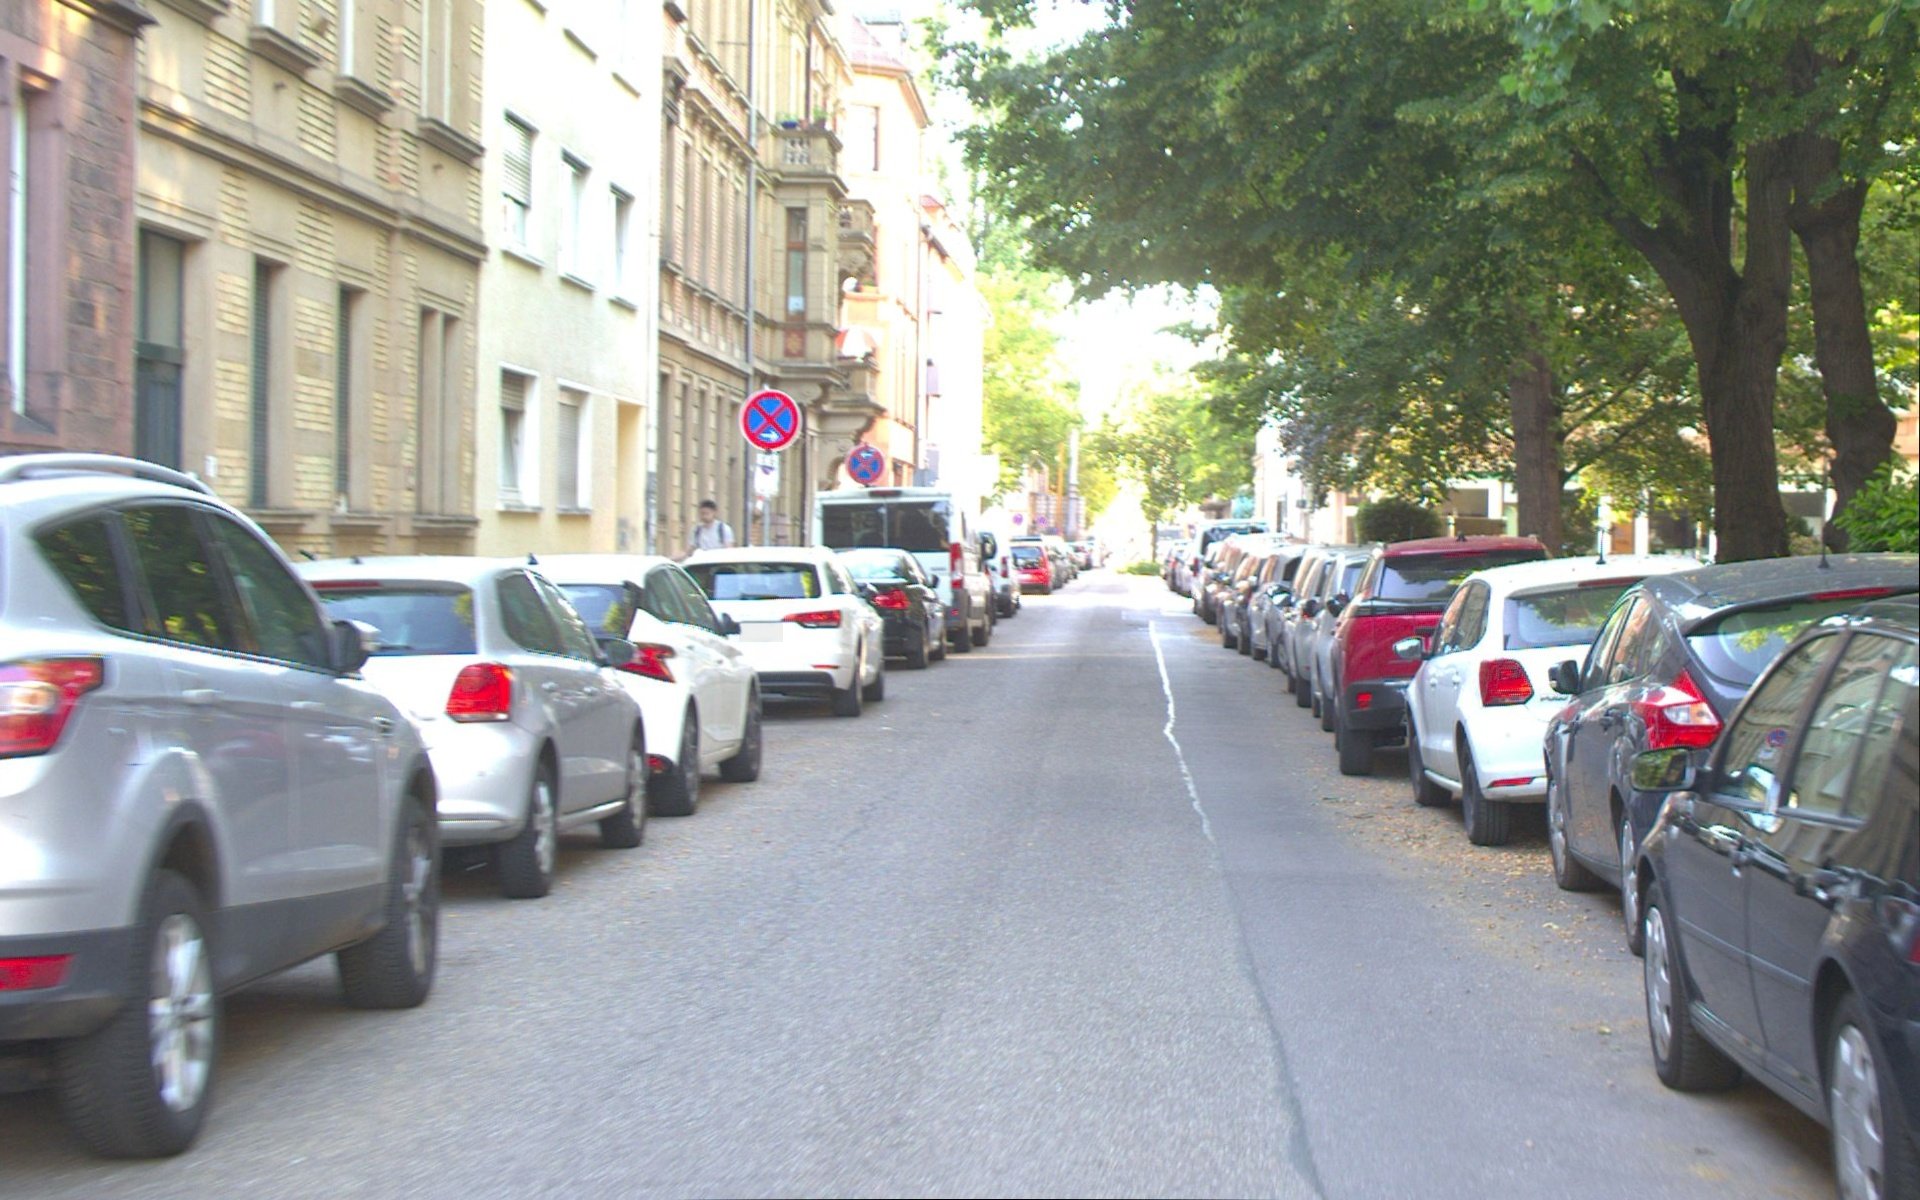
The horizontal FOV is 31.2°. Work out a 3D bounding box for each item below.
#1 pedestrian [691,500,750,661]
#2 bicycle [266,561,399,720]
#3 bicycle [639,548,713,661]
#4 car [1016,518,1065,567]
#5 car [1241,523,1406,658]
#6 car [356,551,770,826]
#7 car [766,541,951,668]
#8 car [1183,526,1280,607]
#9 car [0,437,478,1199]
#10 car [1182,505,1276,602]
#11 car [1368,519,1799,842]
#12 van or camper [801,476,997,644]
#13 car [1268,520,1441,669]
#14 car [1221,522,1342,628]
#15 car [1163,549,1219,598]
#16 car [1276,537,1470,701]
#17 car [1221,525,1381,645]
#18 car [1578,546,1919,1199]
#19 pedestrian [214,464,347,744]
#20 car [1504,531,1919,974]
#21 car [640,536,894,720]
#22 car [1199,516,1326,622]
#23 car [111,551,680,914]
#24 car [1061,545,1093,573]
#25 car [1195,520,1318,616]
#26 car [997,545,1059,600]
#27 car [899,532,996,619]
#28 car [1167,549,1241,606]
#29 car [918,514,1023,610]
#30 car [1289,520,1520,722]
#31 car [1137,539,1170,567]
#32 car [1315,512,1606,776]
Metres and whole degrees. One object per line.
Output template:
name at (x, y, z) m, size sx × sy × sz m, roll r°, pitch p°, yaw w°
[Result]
pedestrian at (-2.738, -0.223, 39.388) m, size 0.488 × 1.797 × 1.115 m, roll 3°, pitch 1°, yaw 1°
bicycle at (-4.815, 0.293, 26.474) m, size 0.570 × 1.144 × 1.844 m, roll 3°, pitch 1°, yaw 2°
bicycle at (-3.251, 0.035, 39.453) m, size 0.570 × 1.239 × 1.844 m, roll 3°, pitch 1°, yaw 2°
car at (3.109, -2.189, 131.649) m, size 1.765 × 1.779 × 4.039 m, roll -2°, pitch 1°, yaw 2°
car at (4.464, -0.113, 42.650) m, size 1.599 × 1.500 × 3.628 m, roll -4°, pitch 0°, yaw 1°
car at (-2.216, 0.465, 20.135) m, size 1.709 × 1.412 × 3.802 m, roll -2°, pitch 0°, yaw 4°
car at (-1.153, 0.018, 41.046) m, size 1.731 × 1.397 × 4.314 m, roll -2°, pitch 1°, yaw 4°
car at (5.421, -0.679, 68.984) m, size 1.719 × 1.565 × 3.828 m, roll 0°, pitch 1°, yaw 1°
car at (-2.632, 0.508, 9.443) m, size 1.709 × 1.668 × 4.277 m, roll -2°, pitch 0°, yaw 4°
car at (5.855, -1.012, 74.490) m, size 1.914 × 1.991 × 4.791 m, roll -2°, pitch 1°, yaw 5°
car at (3.381, 0.406, 19.321) m, size 1.664 × 1.515 × 3.951 m, roll -4°, pitch 0°, yaw 1°
van or camper at (-0.770, -0.558, 47.418) m, size 2.177 × 2.140 × 5.153 m, roll -2°, pitch 1°, yaw 4°
car at (4.326, -0.061, 38.099) m, size 1.599 × 1.463 × 3.563 m, roll -4°, pitch 0°, yaw 3°
car at (4.997, -0.381, 53.867) m, size 1.619 × 1.481 × 3.776 m, roll -4°, pitch 0°, yaw 3°
car at (7.512, -0.875, 111.871) m, size 1.676 × 1.501 × 3.937 m, roll -2°, pitch 1°, yaw 2°
car at (3.982, 0.169, 33.622) m, size 1.599 × 1.465 × 3.869 m, roll -2°, pitch 0°, yaw 3°
car at (4.611, -0.197, 46.986) m, size 1.675 × 1.436 × 4.695 m, roll -4°, pitch 0°, yaw 1°
car at (2.661, 0.592, 8.499) m, size 1.621 × 1.431 × 4.003 m, roll -1°, pitch 0°, yaw 2°
pedestrian at (-4.761, 0.021, 24.127) m, size 0.766 × 1.922 × 0.763 m, roll 1°, pitch 1°, yaw -1°
car at (3.348, 0.520, 14.323) m, size 1.664 × 1.515 × 4.060 m, roll -4°, pitch 0°, yaw 4°
car at (-1.618, 0.193, 30.246) m, size 1.731 × 1.451 × 4.521 m, roll -2°, pitch 1°, yaw 3°
car at (5.082, -0.499, 58.214) m, size 1.618 × 1.619 × 3.864 m, roll -4°, pitch 0°, yaw -1°
car at (-2.430, 0.529, 15.726) m, size 1.709 × 1.412 × 3.802 m, roll -2°, pitch 0°, yaw 4°
car at (6.509, -2.290, 191.141) m, size 1.676 × 1.482 × 4.094 m, roll -2°, pitch 1°, yaw 2°
car at (5.495, -0.575, 64.102) m, size 1.739 × 1.597 × 4.264 m, roll -4°, pitch 0°, yaw -1°
car at (1.941, -0.788, 97.400) m, size 1.628 × 1.476 × 3.601 m, roll -2°, pitch 1°, yaw 2°
car at (-0.217, -0.473, 63.430) m, size 1.692 × 1.509 × 3.973 m, roll -2°, pitch 1°, yaw 0°
car at (6.849, -0.648, 96.903) m, size 1.744 × 1.501 × 4.358 m, roll -2°, pitch 1°, yaw 0°
car at (0.239, -0.765, 68.311) m, size 1.831 × 1.805 × 4.571 m, roll -2°, pitch 1°, yaw 3°
car at (3.727, 0.164, 29.325) m, size 1.599 × 1.500 × 3.720 m, roll -4°, pitch 0°, yaw 3°
car at (10.513, -2.561, 187.087) m, size 1.676 × 1.482 × 3.638 m, roll -2°, pitch 1°, yaw 2°
car at (3.427, 0.276, 24.173) m, size 1.664 × 1.581 × 4.100 m, roll -4°, pitch 0°, yaw 5°
